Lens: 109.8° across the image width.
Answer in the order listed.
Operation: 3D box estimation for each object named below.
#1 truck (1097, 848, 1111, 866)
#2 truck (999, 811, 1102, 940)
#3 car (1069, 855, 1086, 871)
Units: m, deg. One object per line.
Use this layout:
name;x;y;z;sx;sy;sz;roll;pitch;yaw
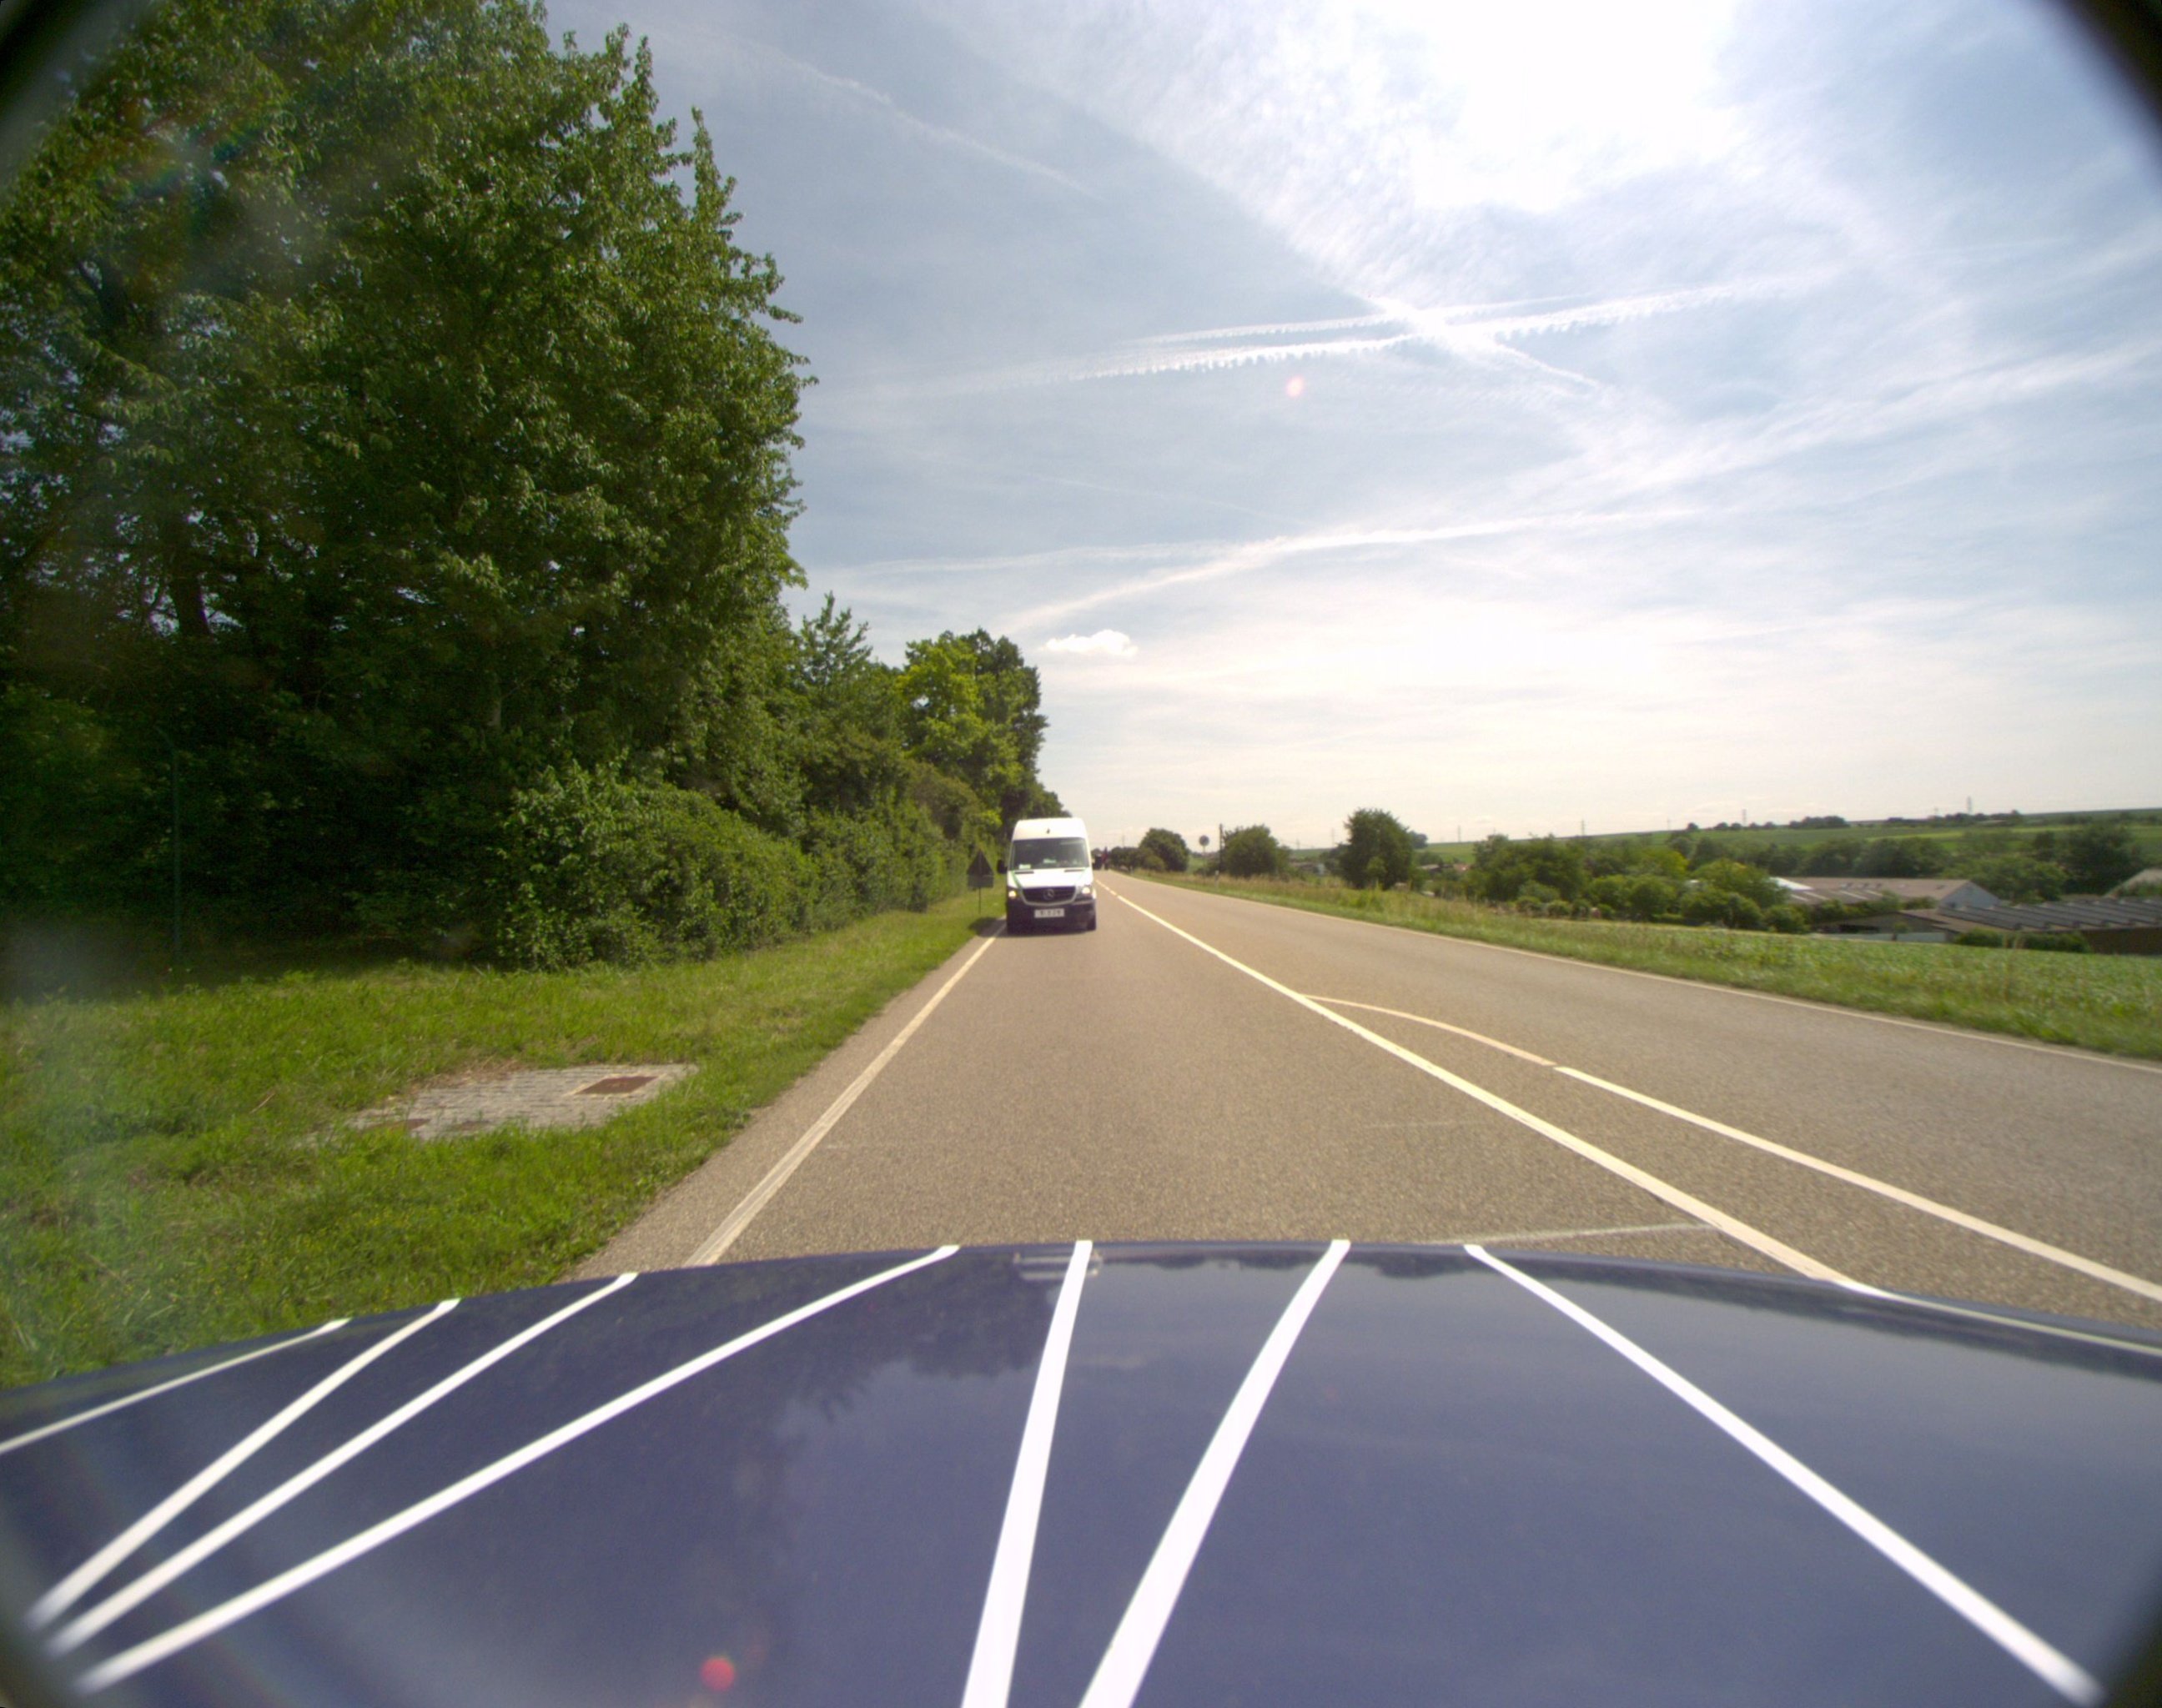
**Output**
truck;4.796;0.708;160.488;2.763;3.555;11.067;1;-1;2
truck;-0.524;0.451;19.266;2.022;2.567;7.226;-2;0;2
car;-0.454;1.169;99.478;1.999;2.002;3.999;2;0;-2
